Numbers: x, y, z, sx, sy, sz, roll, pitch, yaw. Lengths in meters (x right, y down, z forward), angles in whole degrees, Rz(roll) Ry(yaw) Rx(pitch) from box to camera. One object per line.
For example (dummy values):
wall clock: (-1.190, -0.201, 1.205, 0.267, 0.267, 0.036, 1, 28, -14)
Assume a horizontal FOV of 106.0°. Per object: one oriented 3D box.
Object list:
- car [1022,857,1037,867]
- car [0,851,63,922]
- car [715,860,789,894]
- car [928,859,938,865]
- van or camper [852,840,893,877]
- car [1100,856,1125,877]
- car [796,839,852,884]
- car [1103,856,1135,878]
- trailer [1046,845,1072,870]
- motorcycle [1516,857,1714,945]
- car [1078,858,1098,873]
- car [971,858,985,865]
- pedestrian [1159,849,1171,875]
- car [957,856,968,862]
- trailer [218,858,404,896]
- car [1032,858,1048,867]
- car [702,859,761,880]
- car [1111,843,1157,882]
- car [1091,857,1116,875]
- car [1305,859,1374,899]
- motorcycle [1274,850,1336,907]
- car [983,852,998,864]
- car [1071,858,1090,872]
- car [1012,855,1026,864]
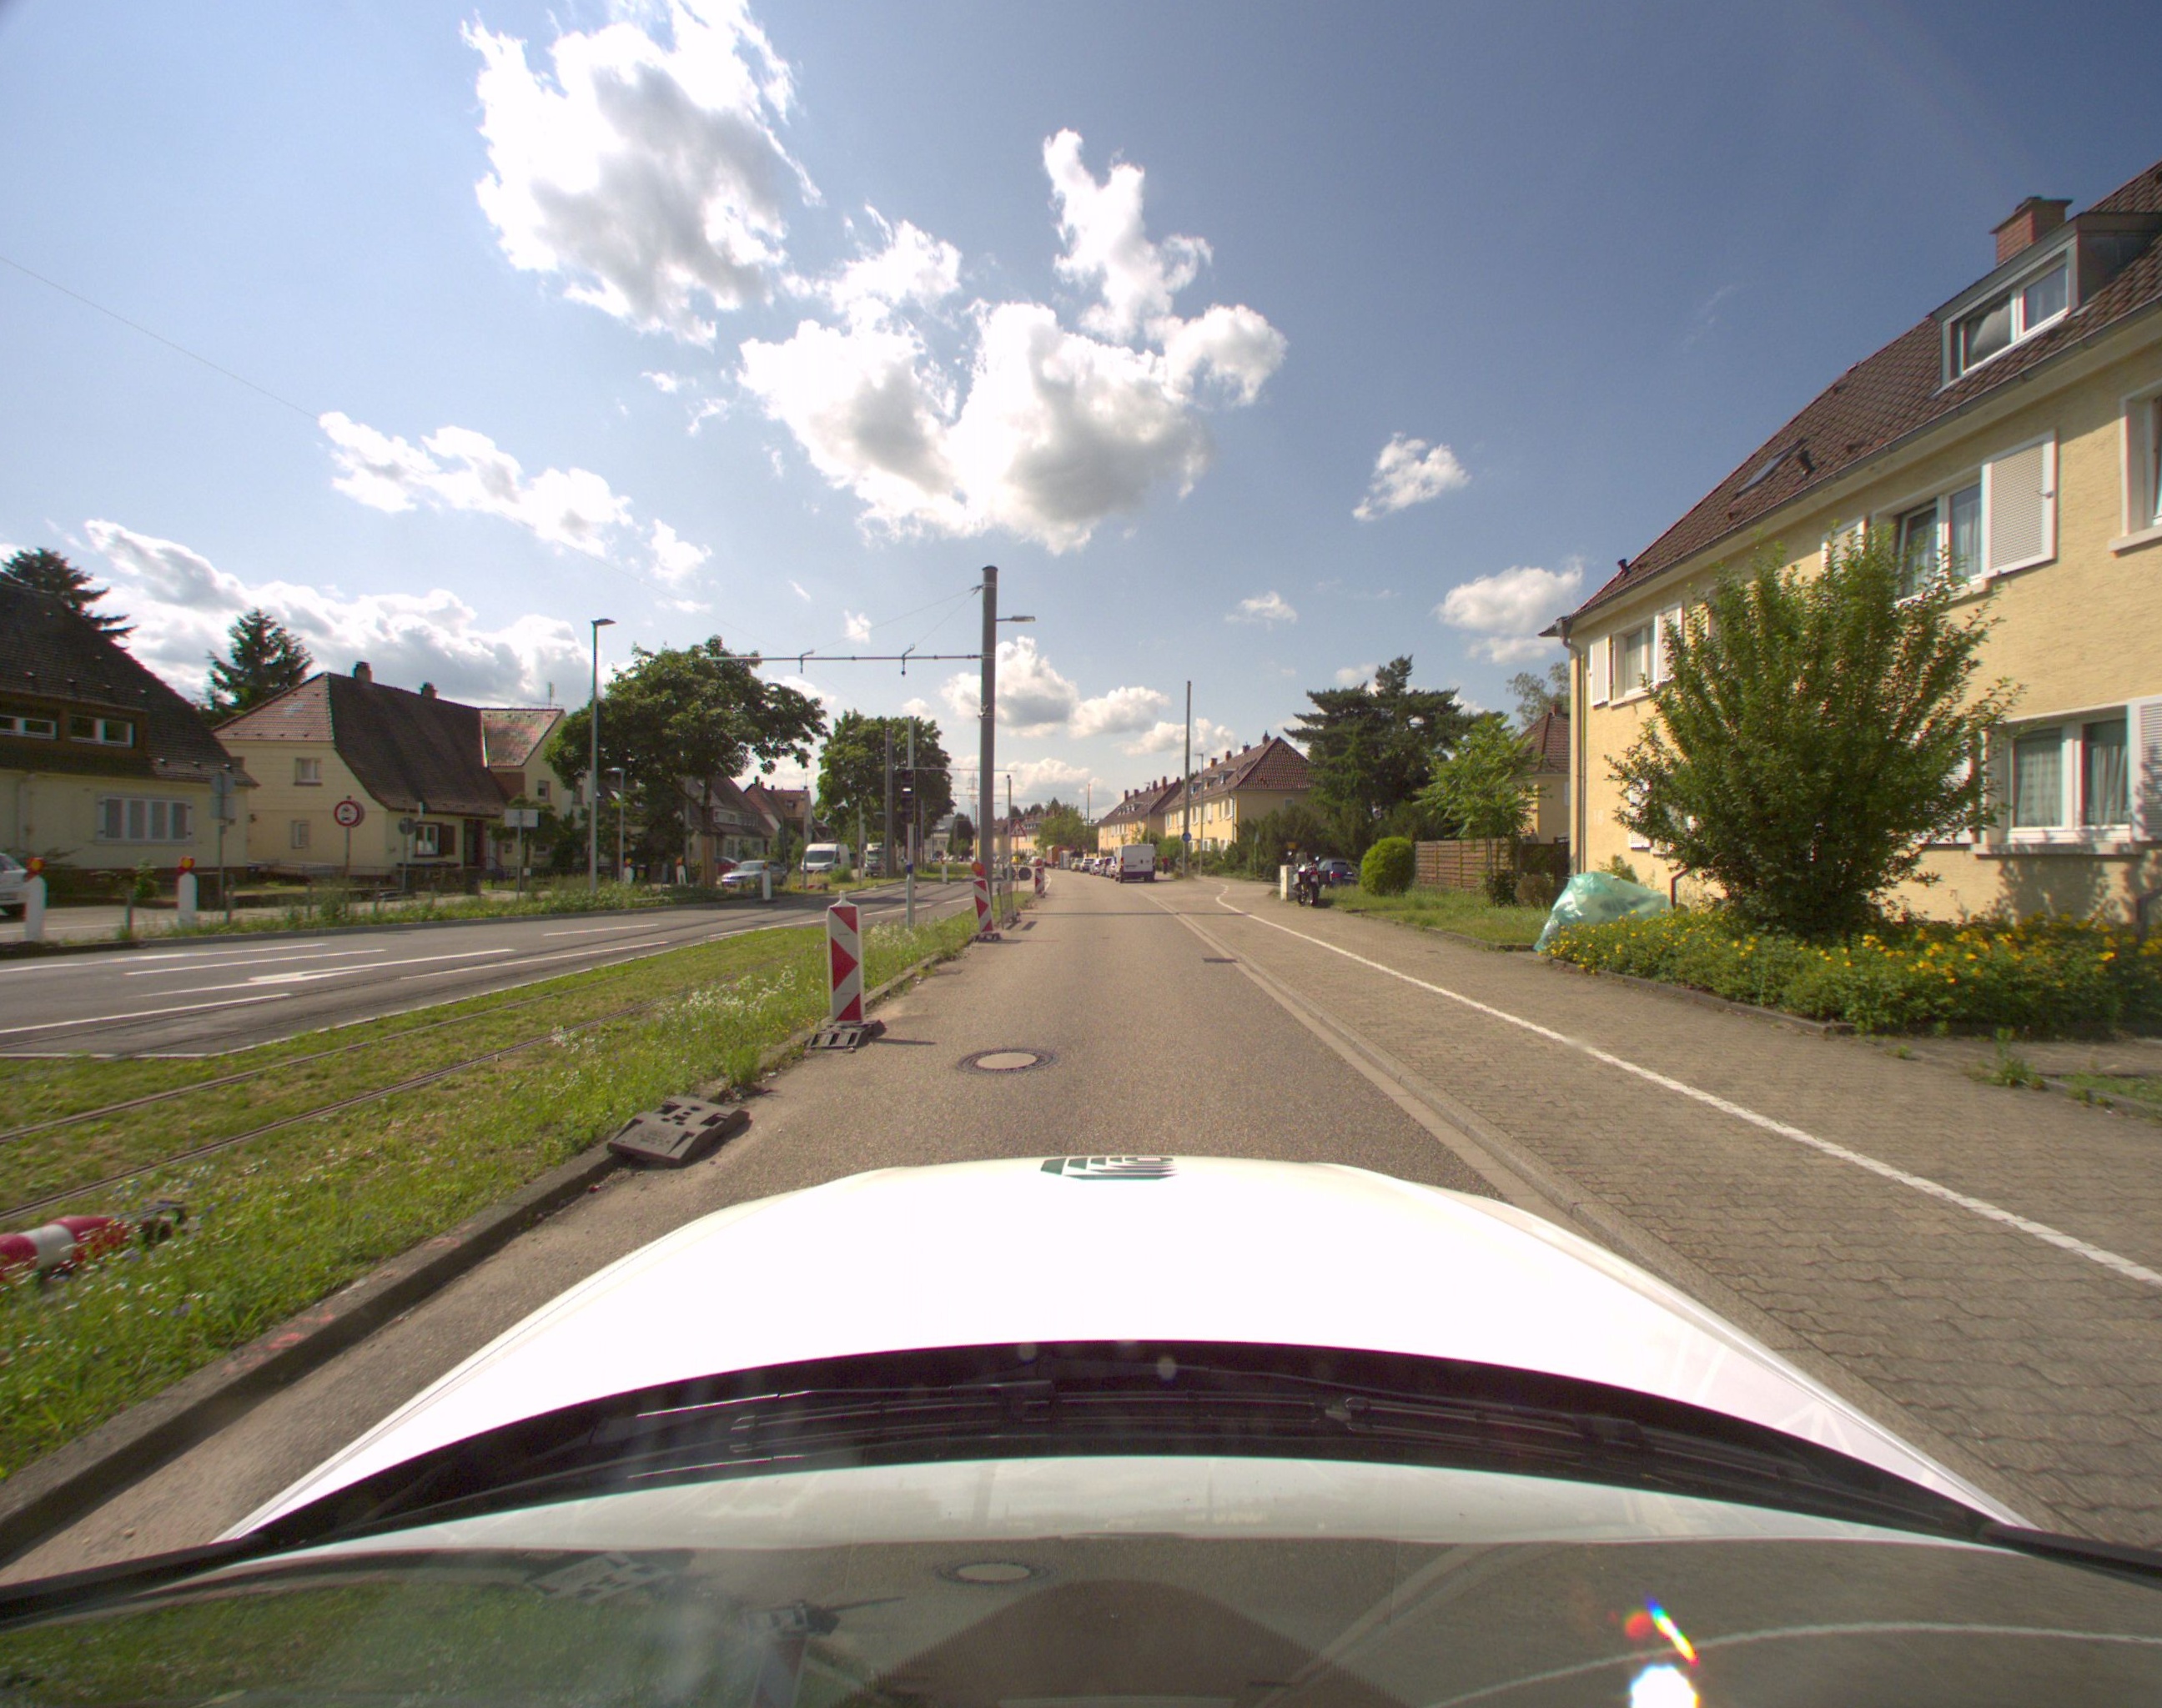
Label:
car: (-8.559, 1.242, 135.073, 1.551, 1.641, 4.224, 0, 0, -15)
car: (-25.382, 0.702, 17.718, 3.944, 1.544, 1.758, 0, 0, -5)
car: (-15.503, 1.043, 38.667, 1.687, 1.465, 4.752, 0, 0, -1)
car: (-36.040, 1.983, 198.551, 1.672, 1.449, 3.931, -3, 0, -21)
van or camper: (-17.744, 0.396, 69.751, 2.373, 2.970, 7.280, 0, 0, -6)
car: (2.416, 0.948, 63.680, 1.624, 1.550, 3.805, -1, 0, -3)
car: (-15.764, 0.462, 50.185, 2.148, 2.668, 4.910, 0, 0, -3)
car: (2.703, 0.933, 58.737, 1.705, 1.504, 4.247, -1, 0, -5)
trailer: (-2.952, 0.481, 109.357, 2.691, 3.226, 5.062, 0, 0, -11)
motorcycle: (7.501, 0.638, 11.540, 2.218, 1.197, 0.855, 0, 0, 4)
car: (0.683, 1.143, 81.348, 1.525, 1.481, 3.802, -1, 0, -6)
car: (-23.145, 1.704, 182.998, 1.806, 1.458, 4.729, -2, 0, -23)
pedestrian: (6.707, 0.649, 65.011, 0.771, 2.014, 0.760, 0, -1, -4)
car: (-28.590, 1.255, 196.102, 1.771, 1.417, 3.970, -2, 1, -22)
trailer: (-29.504, 0.867, 31.334, 5.236, 1.393, 2.025, 0, 0, 1)
car: (-6.314, 1.276, 125.132, 1.708, 1.449, 4.815, 0, 0, -12)
car: (-25.869, 1.166, 60.323, 3.611, 1.522, 1.668, 0, -1, -5)
car: (3.148, 0.500, 49.528, 2.270, 2.183, 6.364, -1, 0, -1)
car: (1.912, 1.011, 69.440, 1.746, 1.497, 4.380, -1, 0, -3)
car: (10.321, 0.951, 32.814, 1.633, 1.380, 4.292, 1, 2, 3)
motorcycle: (6.251, 0.663, 22.909, 1.043, 1.470, 2.586, -3, 0, 2)
car: (-18.961, 0.848, 170.761, 1.935, 2.481, 5.482, -1, 0, -19)
car: (-0.116, 1.186, 87.824, 1.462, 1.502, 4.098, -1, 0, -8)
car: (-11.232, 1.039, 147.207, 1.639, 1.482, 3.911, -3, 1, -16)
